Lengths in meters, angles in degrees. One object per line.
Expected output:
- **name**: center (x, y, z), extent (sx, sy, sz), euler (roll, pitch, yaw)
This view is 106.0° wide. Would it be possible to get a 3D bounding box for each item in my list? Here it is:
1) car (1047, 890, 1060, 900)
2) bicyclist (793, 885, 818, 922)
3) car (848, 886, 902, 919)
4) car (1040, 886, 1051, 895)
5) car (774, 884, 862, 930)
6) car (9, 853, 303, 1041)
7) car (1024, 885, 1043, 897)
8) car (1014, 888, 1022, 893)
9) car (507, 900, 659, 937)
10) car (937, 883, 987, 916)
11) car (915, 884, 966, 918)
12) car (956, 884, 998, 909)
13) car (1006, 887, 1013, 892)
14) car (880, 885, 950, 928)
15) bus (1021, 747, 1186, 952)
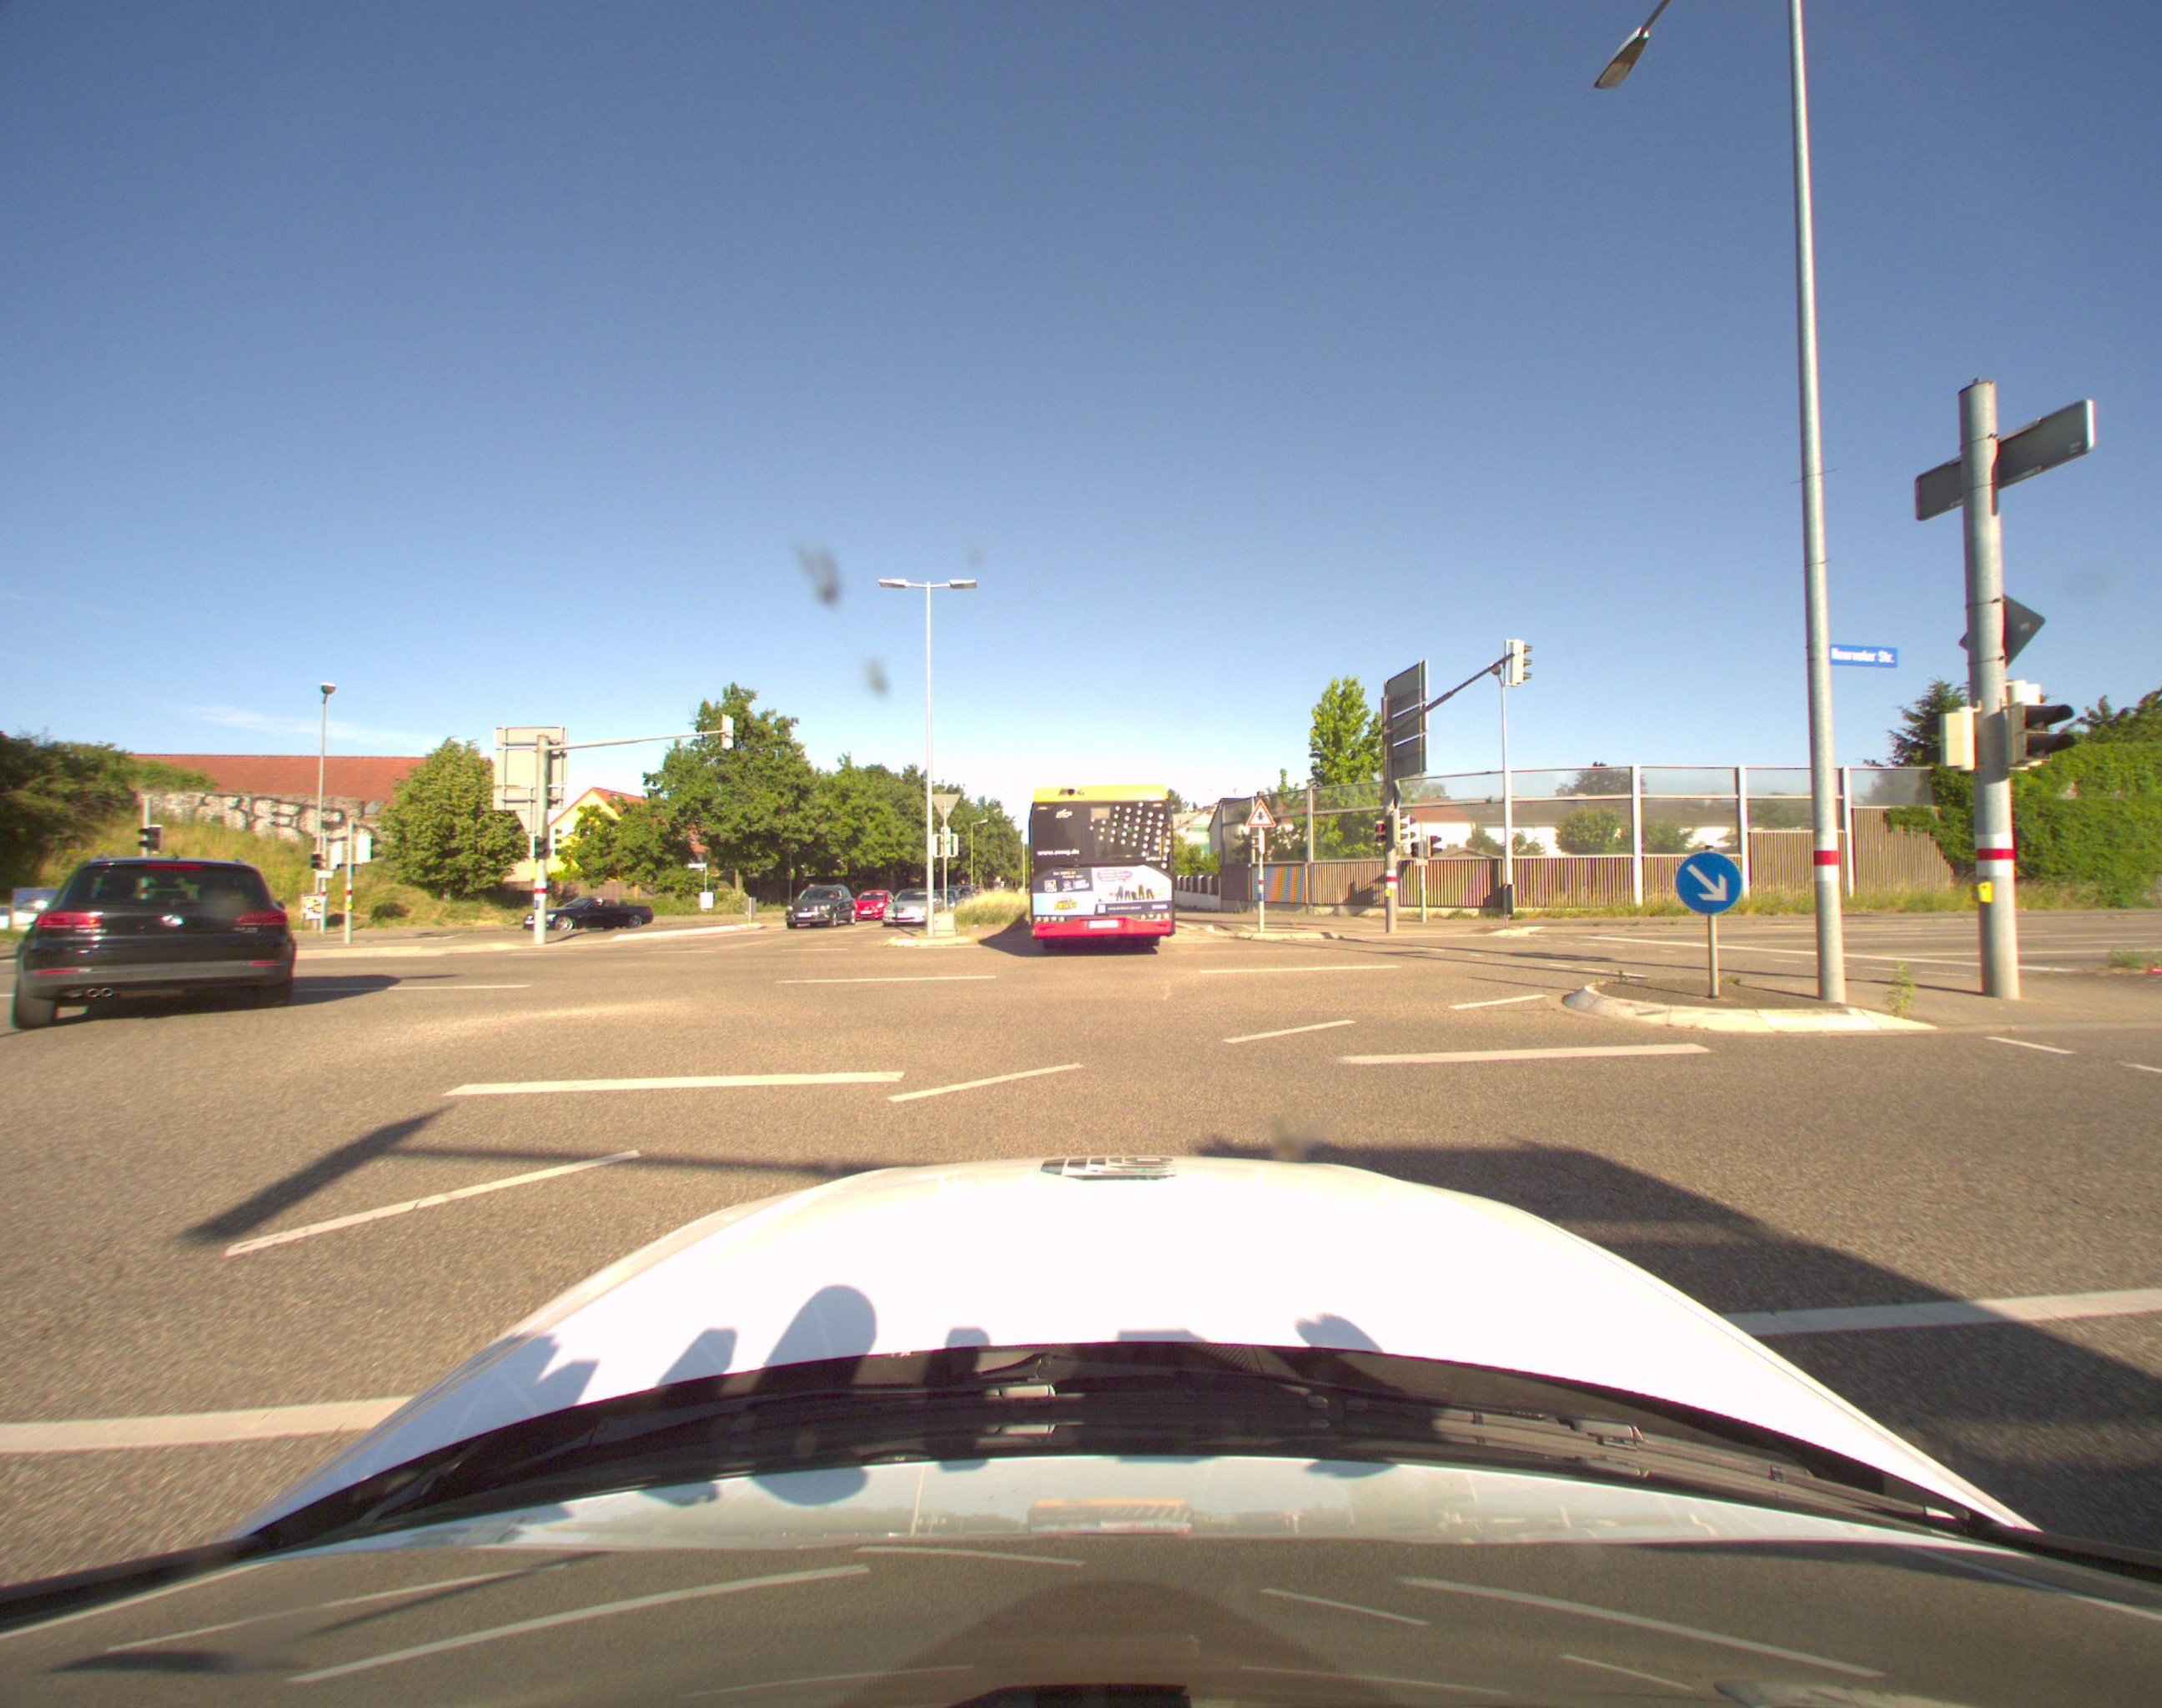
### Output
- **car**: center (-4.655, 6.987, 139.340), extent (1.934, 1.704, 3.990), euler (0, -3, -7)
- **bicyclist**: center (-12.697, 2.266, 37.521), extent (0.742, 1.702, 1.241), euler (-1, -2, -1)
- **car**: center (-9.944, 2.323, 39.578), extent (1.640, 1.483, 3.712), euler (-1, -2, 0)
- **car**: center (-7.048, 7.245, 161.155), extent (1.931, 1.743, 3.990), euler (0, -3, -7)
- **car**: center (-10.316, 2.031, 32.260), extent (1.987, 1.644, 4.529), euler (-1, -2, 0)
- **car**: center (-10.210, 0.875, 9.099), extent (3.949, 1.627, 1.844), euler (-2, -2, 41)
- **car**: center (-6.170, 4.820, 105.808), extent (1.700, 1.431, 4.008), euler (-2, -2, 8)
- **car**: center (-17.808, 10.325, 229.494), extent (1.931, 1.542, 3.990), euler (0, -2, -7)
- **car**: center (-19.198, 2.457, 31.676), extent (2.023, 1.310, 4.707), euler (-2, -4, 22)
- **car**: center (-6.284, 2.377, 43.466), extent (1.987, 1.616, 4.528), euler (-1, -2, -1)
- **car**: center (-6.553, 2.164, 38.343), extent (1.741, 1.483, 3.886), euler (-1, -2, 0)
- **car**: center (-6.262, 2.544, 49.332), extent (1.987, 1.451, 4.397), euler (-1, -2, -1)
- **car**: center (-22.397, 11.005, 254.913), extent (1.932, 1.454, 3.988), euler (0, -2, -8)
- **car**: center (-6.463, 2.013, 32.208), extent (1.787, 1.506, 4.529), euler (-1, -2, 0)
- **bus**: center (0.455, 0.013, 20.150), extent (2.748, 3.458, 12.397), euler (-1, -1, 1)
